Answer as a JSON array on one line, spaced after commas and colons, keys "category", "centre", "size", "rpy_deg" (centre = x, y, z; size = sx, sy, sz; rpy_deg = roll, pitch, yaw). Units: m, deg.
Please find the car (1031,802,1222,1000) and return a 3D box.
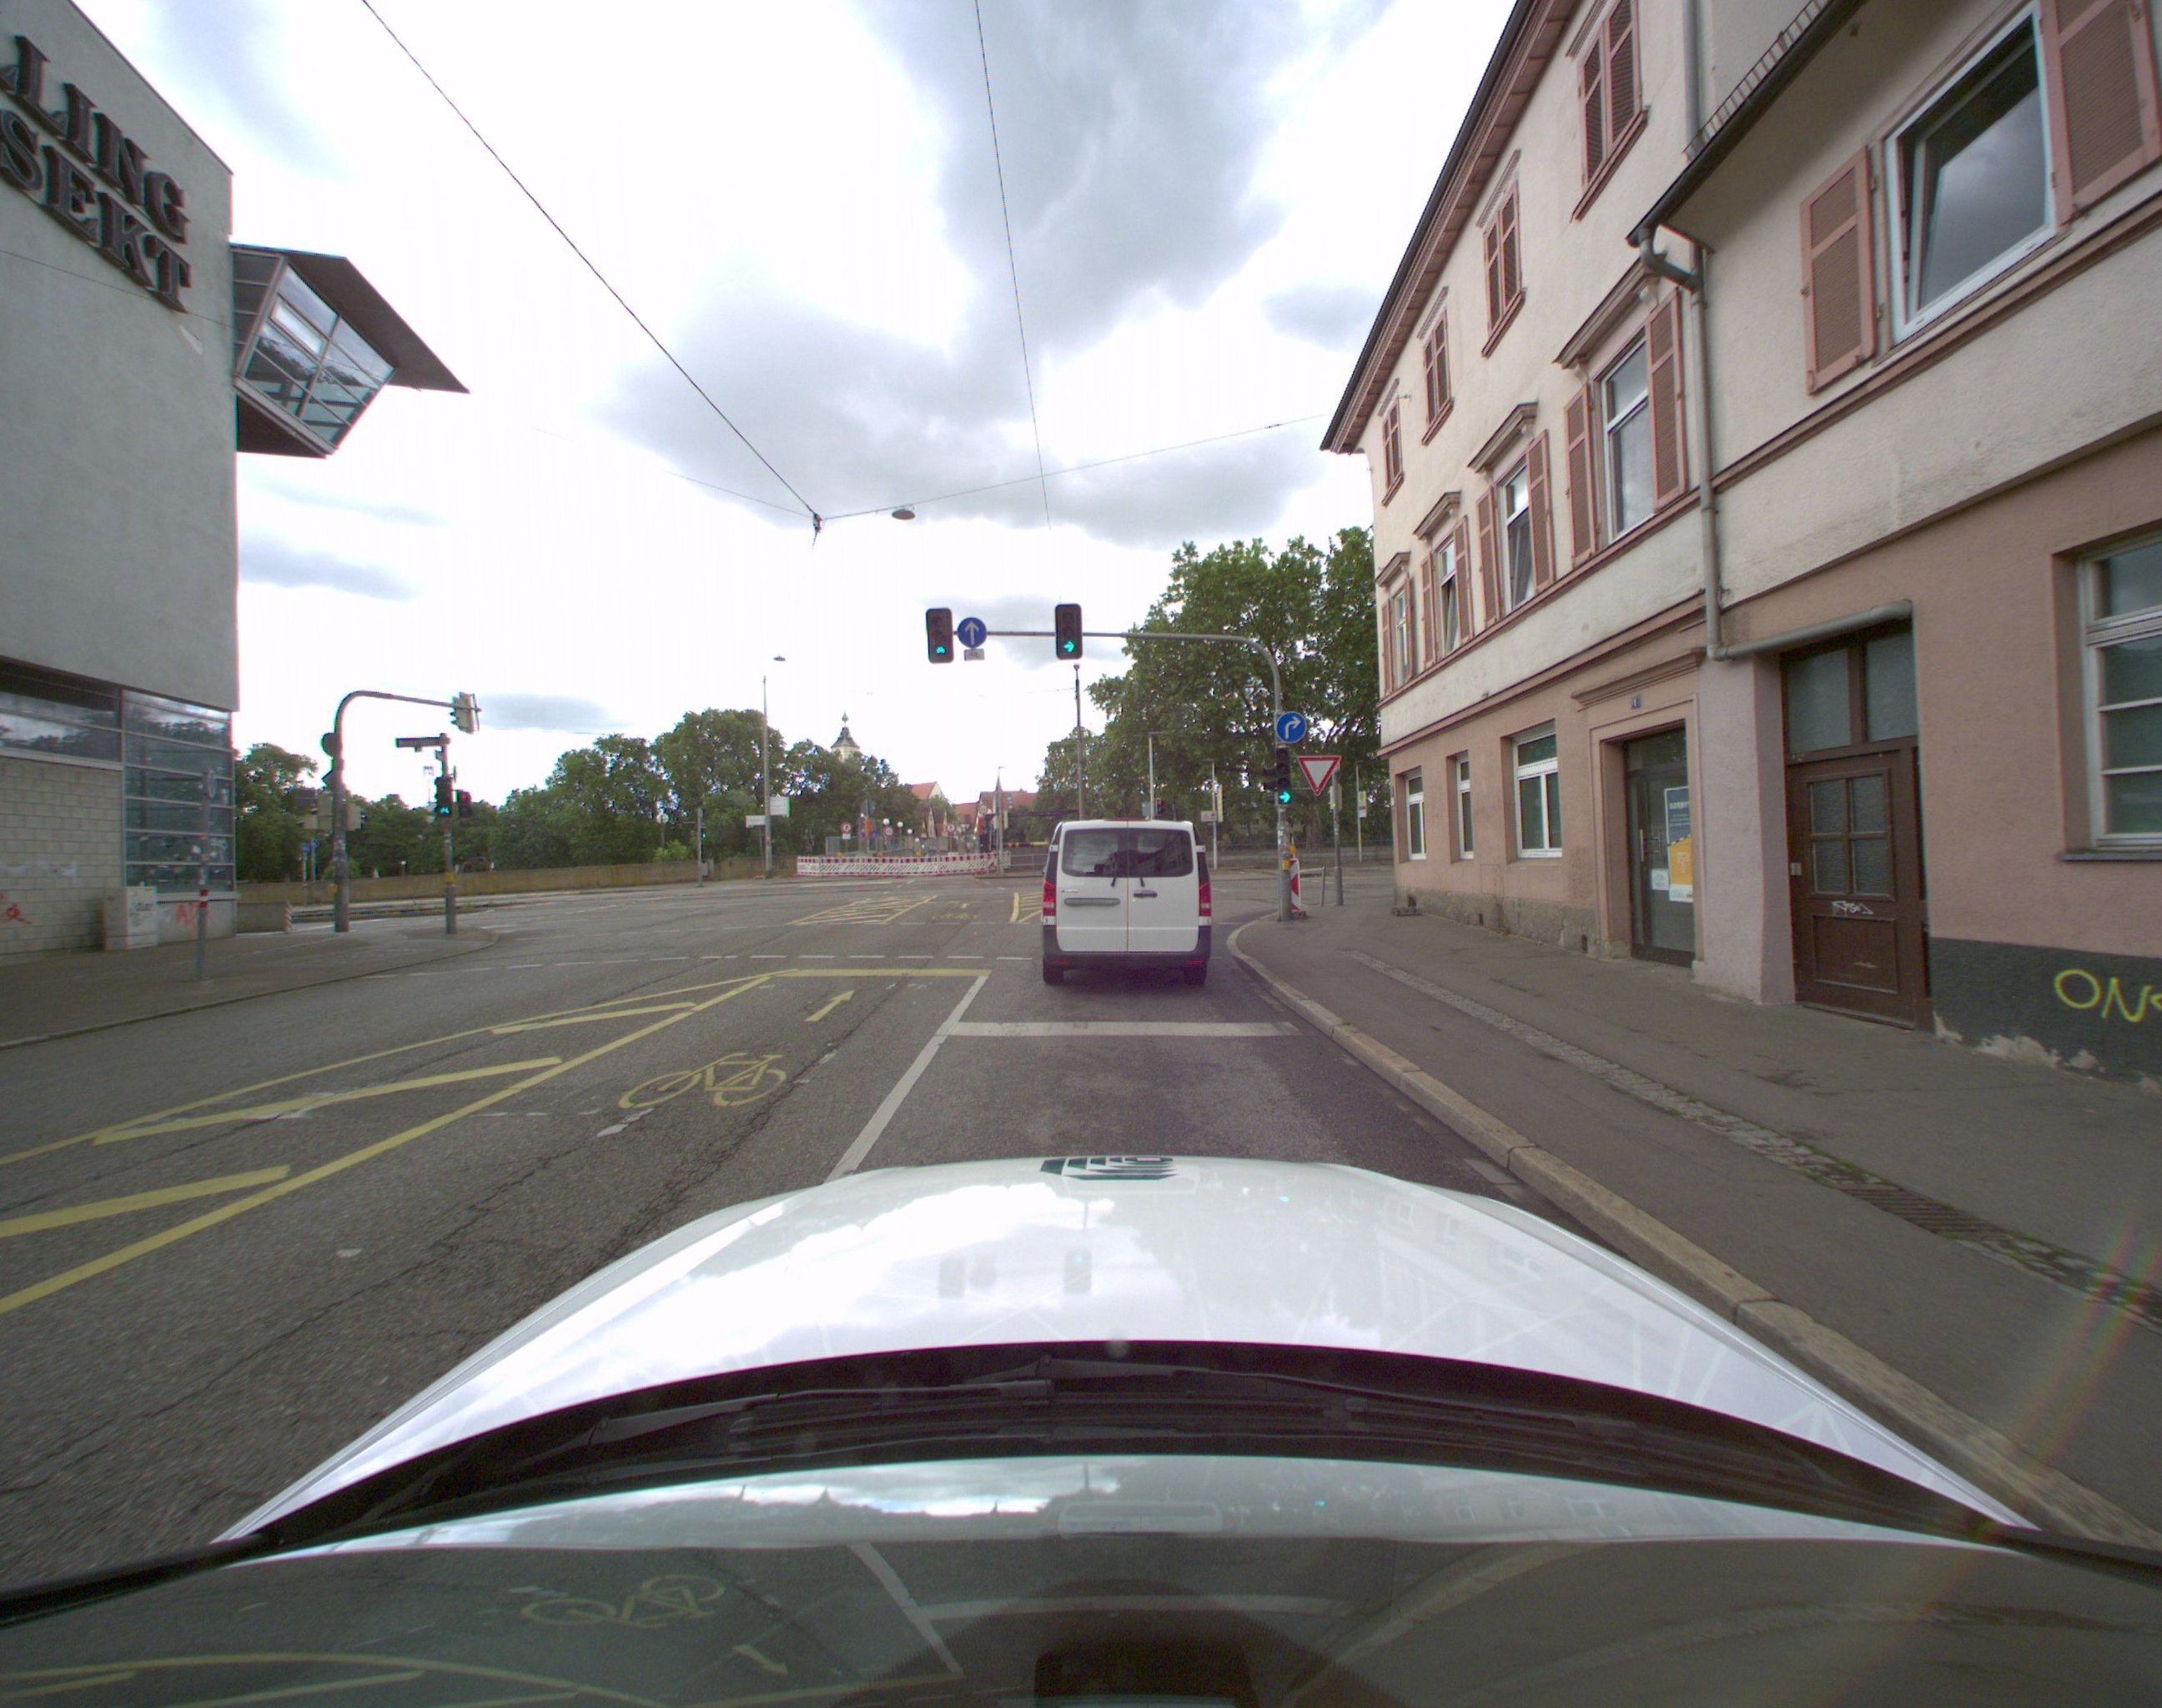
[{"category": "car", "centre": [0.537, 0.451, 10.719], "size": [1.943, 2.013, 4.700], "rpy_deg": [-1, 1, 2]}]
